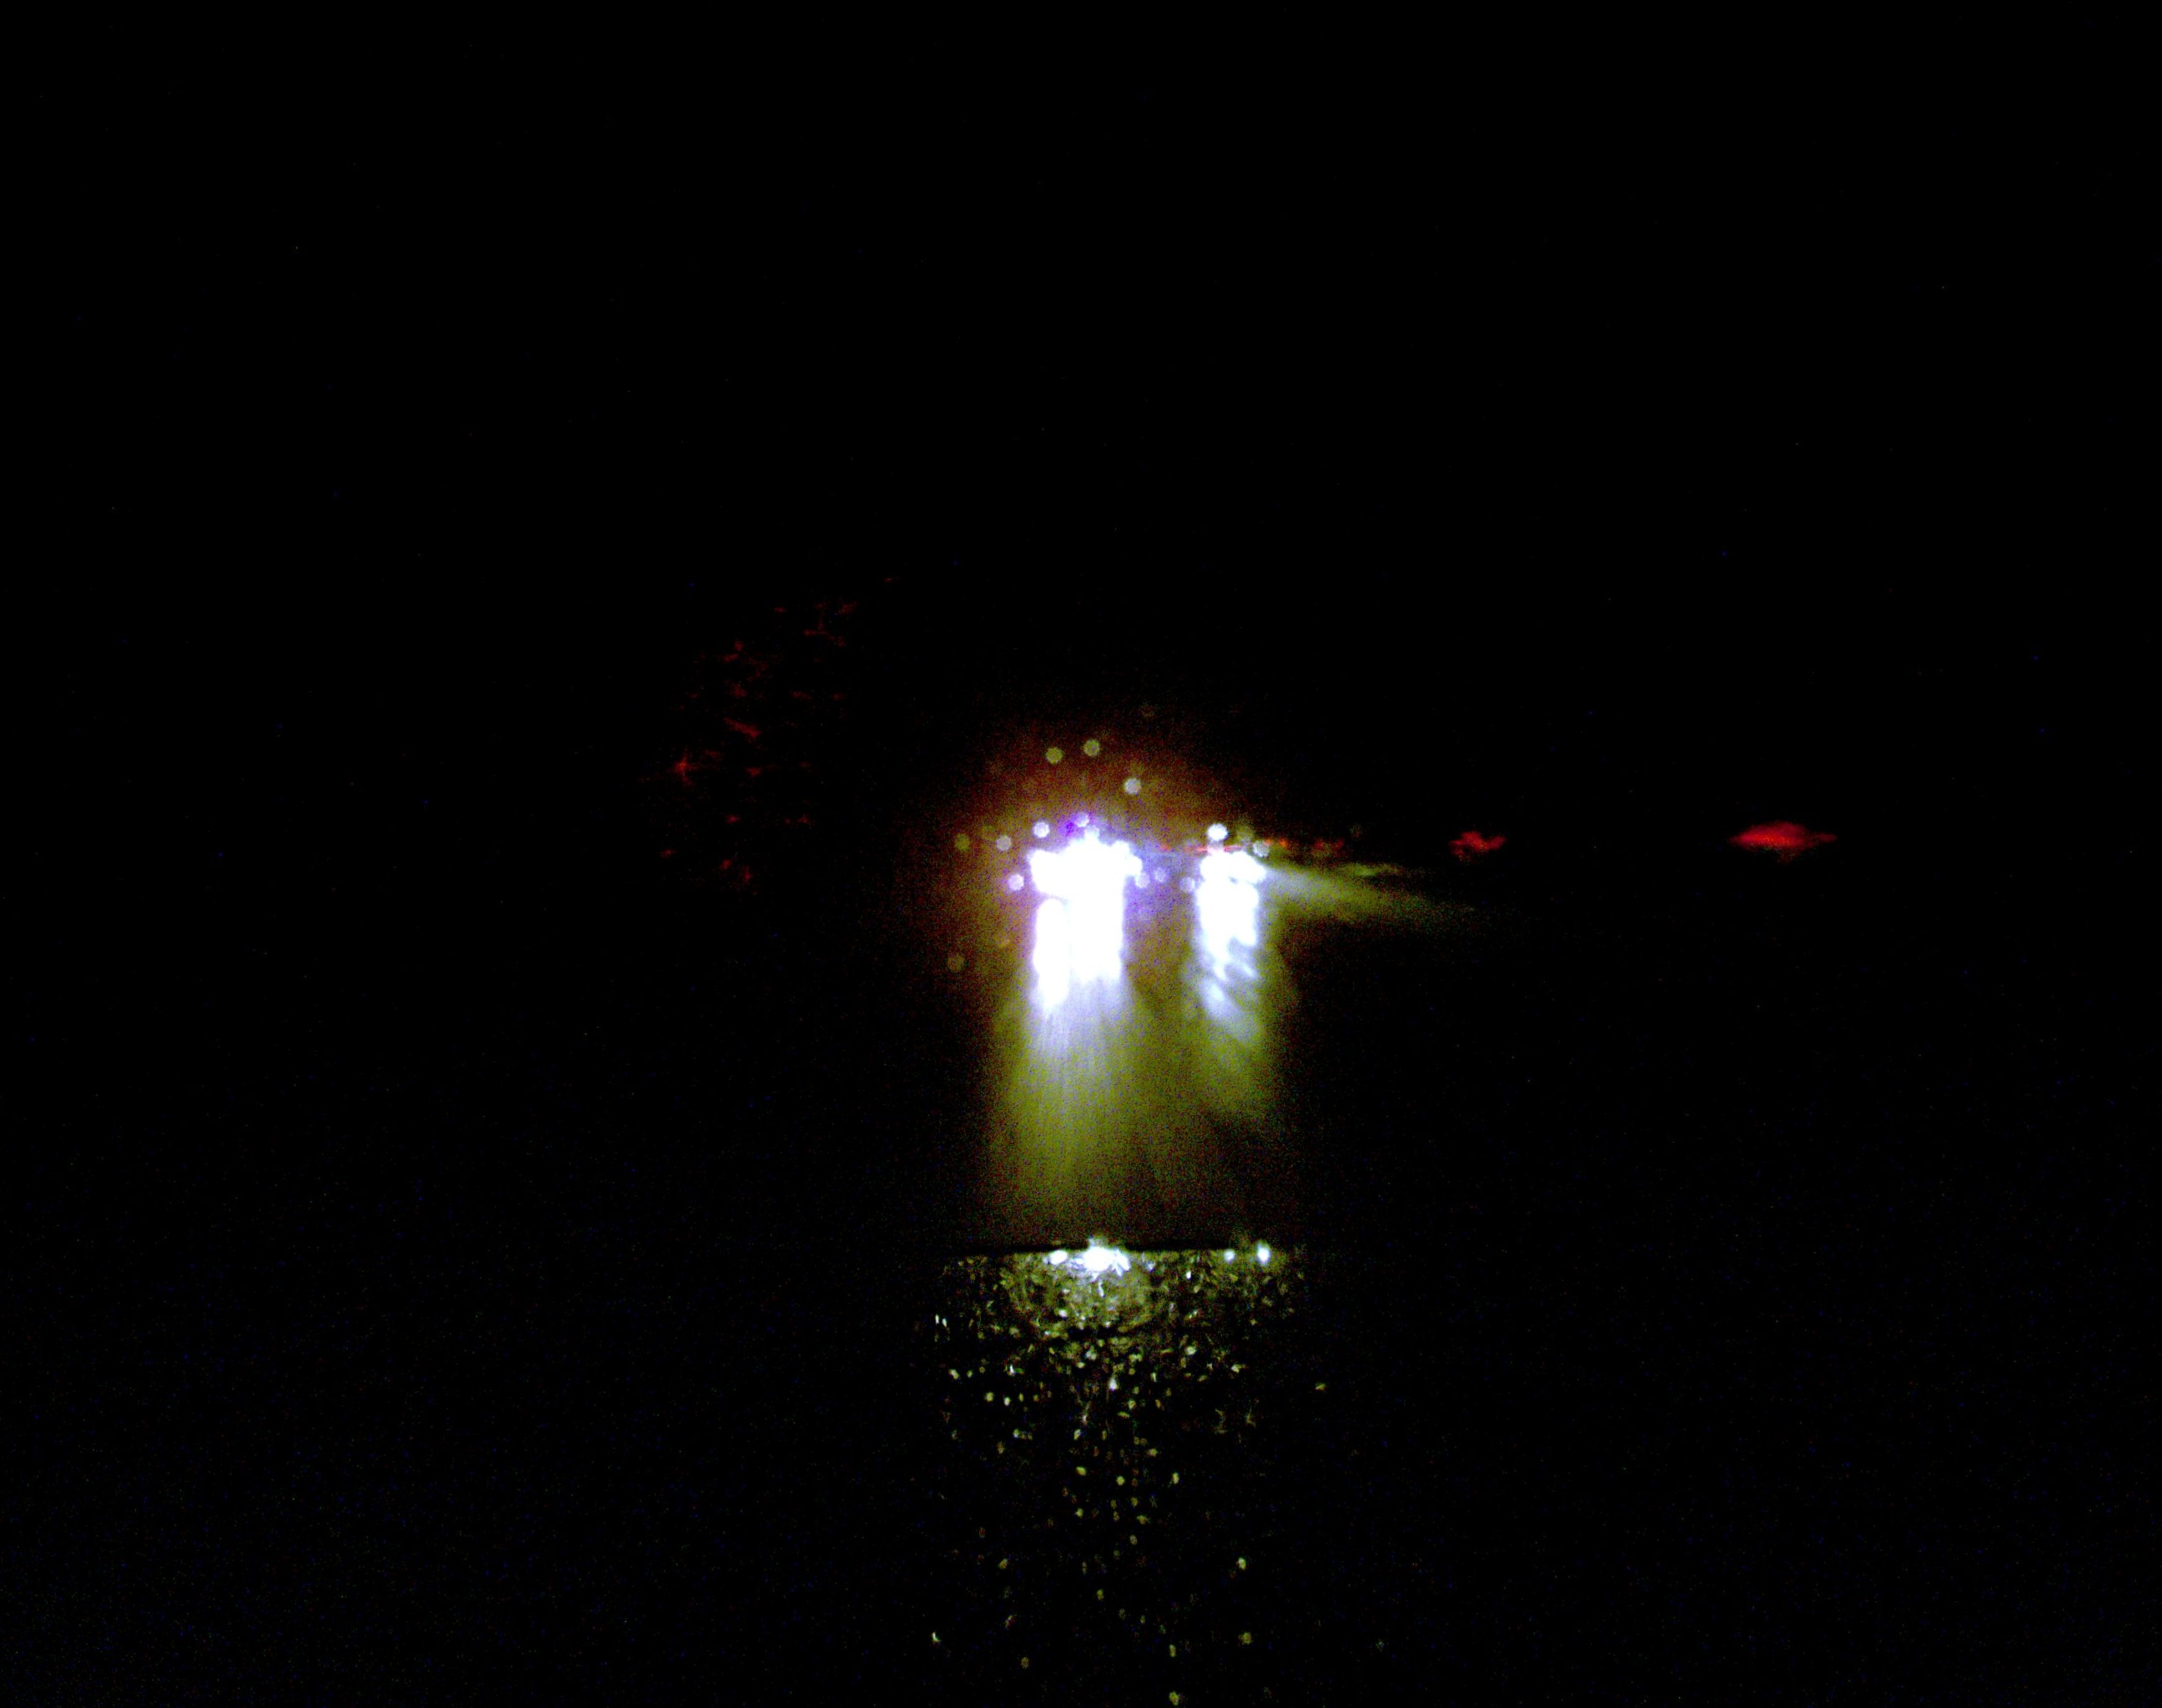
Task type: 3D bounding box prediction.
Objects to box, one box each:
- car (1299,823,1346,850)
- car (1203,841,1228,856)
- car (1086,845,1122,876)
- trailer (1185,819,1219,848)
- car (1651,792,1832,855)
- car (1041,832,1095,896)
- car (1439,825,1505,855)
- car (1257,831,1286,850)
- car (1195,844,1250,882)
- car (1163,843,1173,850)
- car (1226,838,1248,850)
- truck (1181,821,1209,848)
[{"bbox_3d":[18.471,-1.353,58.299,1.991,1.899,5.135,-3,1,1],"label":"car"},{"bbox_3d":[14.919,-0.602,84.453,1.887,1.500,4.305,-3,1,-1],"label":"car"},{"bbox_3d":[1.270,0.350,43.019,1.848,1.532,3.999,-3,1,0],"label":"car"},{"bbox_3d":[18.508,-3.071,116.893,3.363,4.149,11.719,-2,1,1],"label":"trailer"},{"bbox_3d":[19.660,-0.839,22.904,1.812,1.602,4.199,-3,-1,2],"label":"car"},{"bbox_3d":[-0.437,0.322,27.790,1.754,2.093,4.462,-2,0,0],"label":"car"},{"bbox_3d":[21.692,-0.789,42.316,1.768,1.487,3.802,-3,1,1],"label":"car"},{"bbox_3d":[20.366,-1.415,81.258,1.896,1.899,4.842,-3,1,1],"label":"car"},{"bbox_3d":[6.225,0.374,33.752,1.654,1.566,3.849,-2,0,0],"label":"car"},{"bbox_3d":[18.358,-1.605,160.798,1.710,1.488,3.717,-3,1,0],"label":"car"},{"bbox_3d":[20.420,-1.283,99.618,1.844,1.386,4.167,-2,1,-1],"label":"car"},{"bbox_3d":[18.629,-3.158,124.564,3.373,4.149,6.463,-3,1,1],"label":"truck"}]
